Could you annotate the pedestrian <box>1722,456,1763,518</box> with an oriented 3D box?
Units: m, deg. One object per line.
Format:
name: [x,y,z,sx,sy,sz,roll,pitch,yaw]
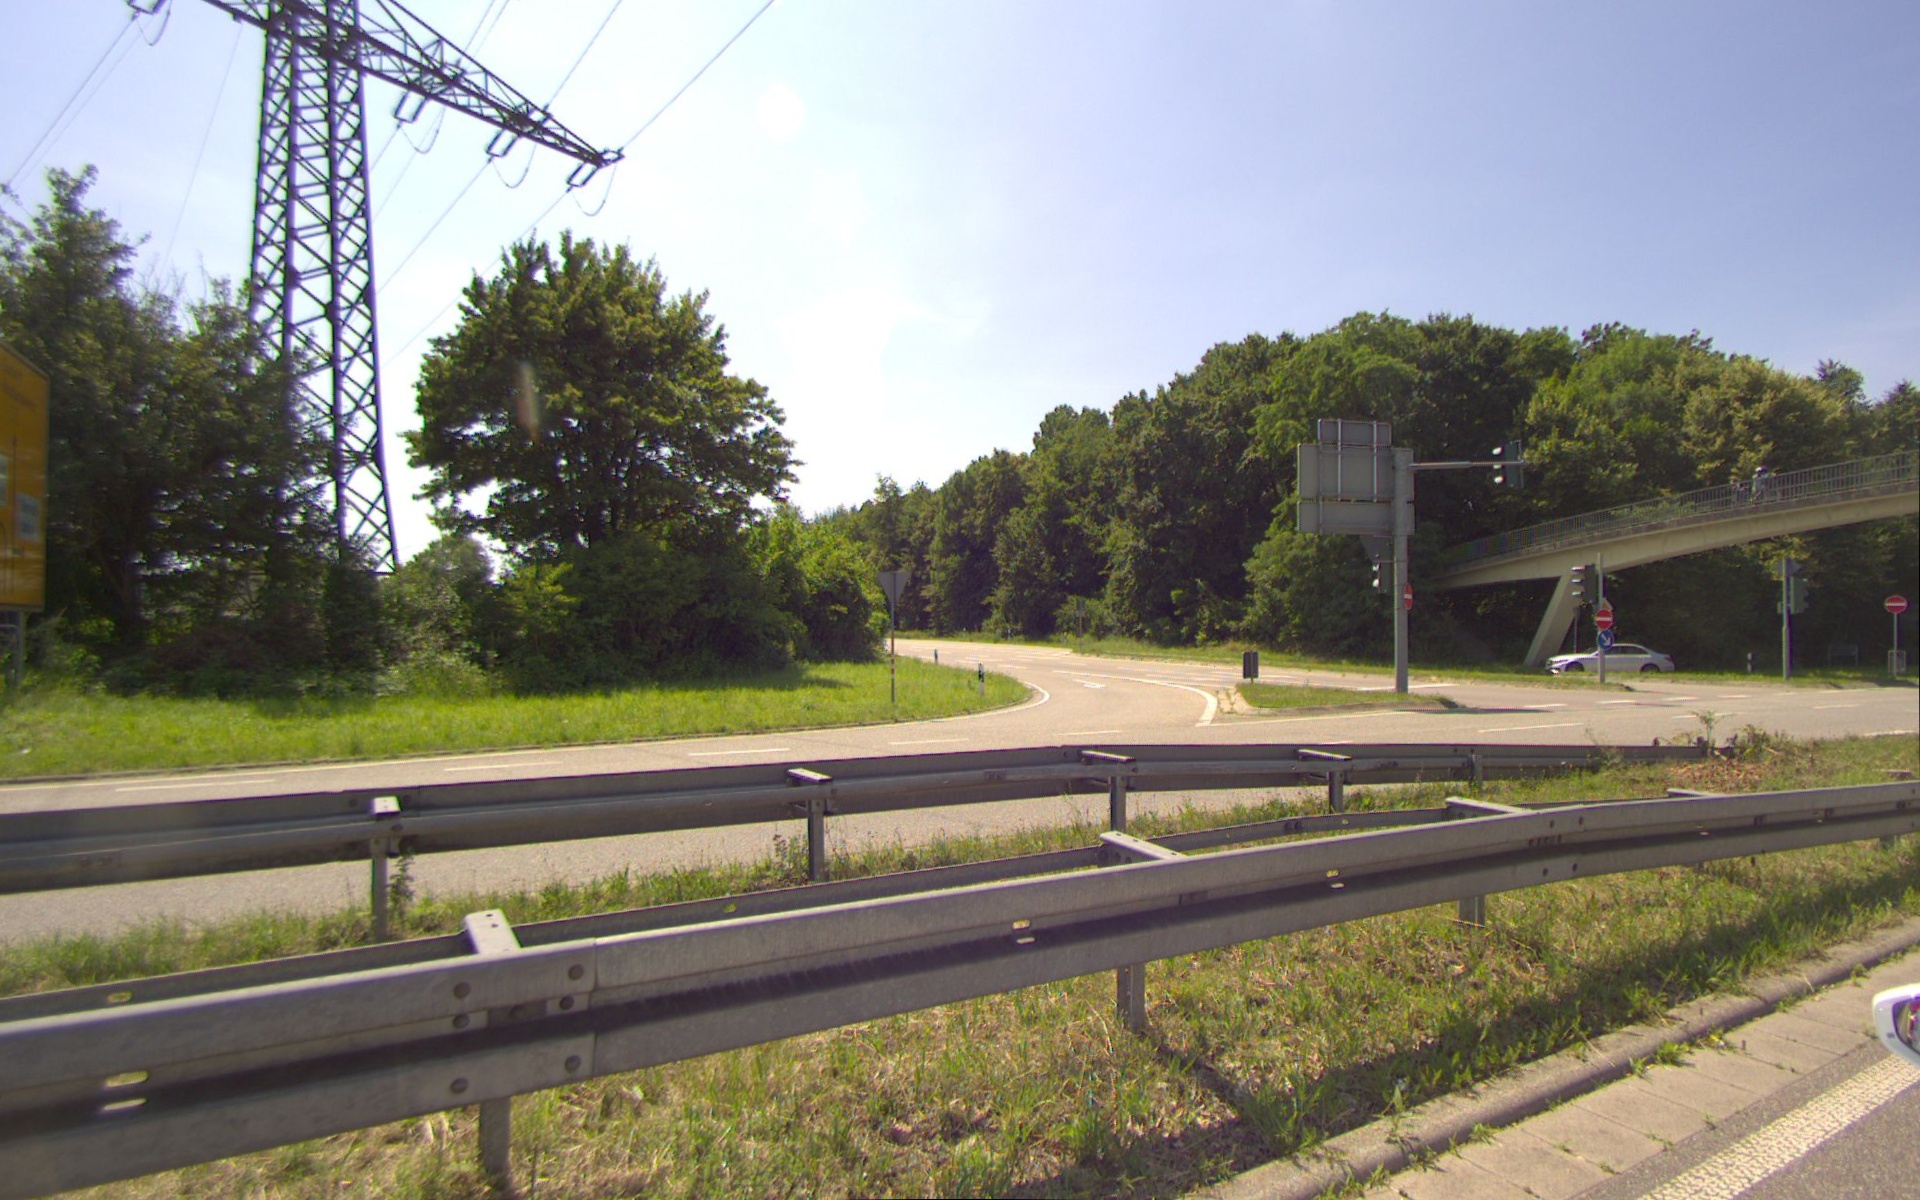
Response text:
pedestrian: [29.381,-4.234,37.717,0.916,2.167,0.783,2,-3,-14]

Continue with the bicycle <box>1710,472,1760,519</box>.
bicycle: [29.112,-3.916,37.742,0.462,1.493,1.528,2,-3,-14]

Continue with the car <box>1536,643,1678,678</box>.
car: [27.556,2.548,42.940,4.685,1.391,2.001,0,-2,14]
